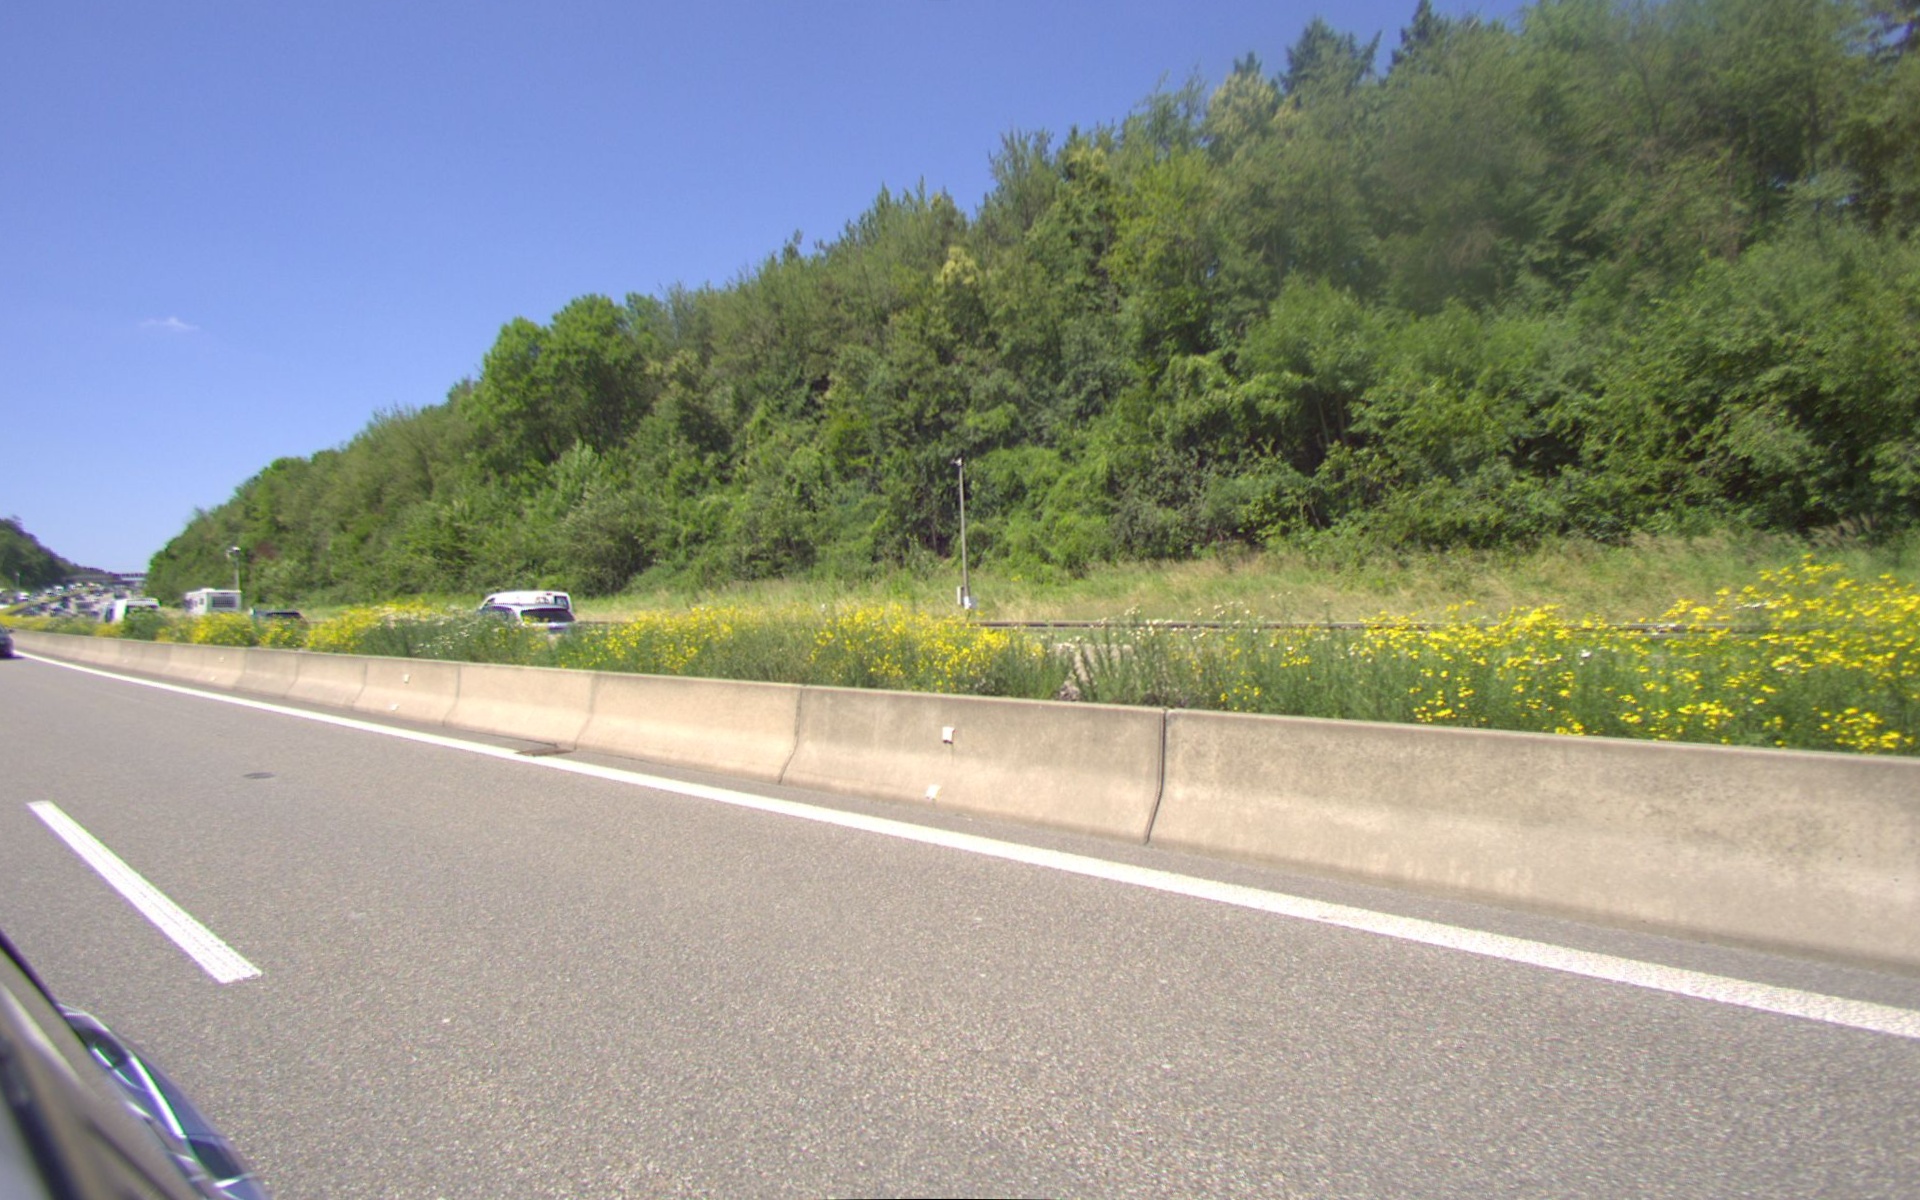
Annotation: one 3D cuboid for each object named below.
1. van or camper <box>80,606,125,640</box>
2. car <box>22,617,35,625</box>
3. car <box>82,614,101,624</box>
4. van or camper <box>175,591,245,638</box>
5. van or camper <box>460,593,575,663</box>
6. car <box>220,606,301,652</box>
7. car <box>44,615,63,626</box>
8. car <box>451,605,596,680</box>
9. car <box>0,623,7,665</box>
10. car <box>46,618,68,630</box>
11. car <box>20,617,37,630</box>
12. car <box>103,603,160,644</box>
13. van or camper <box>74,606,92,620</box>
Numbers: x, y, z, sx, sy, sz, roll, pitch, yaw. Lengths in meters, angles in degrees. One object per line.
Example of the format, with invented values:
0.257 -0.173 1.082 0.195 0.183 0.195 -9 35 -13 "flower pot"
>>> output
-75.450 2.003 89.028 6.556 2.921 2.233 -1 -1 42 "van or camper"
-168.877 3.847 183.460 3.564 1.453 1.461 -2 -1 44 "car"
-131.875 2.881 153.596 4.000 1.467 1.768 0 0 43 "car"
-57.074 1.040 76.928 9.000 3.342 2.513 0 0 42 "van or camper"
-13.696 0.837 31.207 4.212 2.028 1.674 -1 -1 42 "van or camper"
-27.040 1.076 39.088 4.080 1.677 1.689 0 0 42 "car"
-149.978 3.400 167.405 4.163 1.602 1.972 0 0 43 "car"
-10.221 0.911 23.568 3.684 1.576 1.858 0 0 44 "car"
-35.890 1.573 36.591 3.998 1.490 1.698 -1 -1 41 "car"
-127.560 3.348 142.953 4.273 1.599 1.972 -1 -1 43 "car"
-152.937 3.804 166.180 1.971 2.029 4.002 0 0 -45 "car"
-57.071 1.614 69.658 5.744 2.762 2.177 -1 -1 42 "car"
-173.448 2.541 200.024 6.935 2.580 2.161 0 0 45 "van or camper"
